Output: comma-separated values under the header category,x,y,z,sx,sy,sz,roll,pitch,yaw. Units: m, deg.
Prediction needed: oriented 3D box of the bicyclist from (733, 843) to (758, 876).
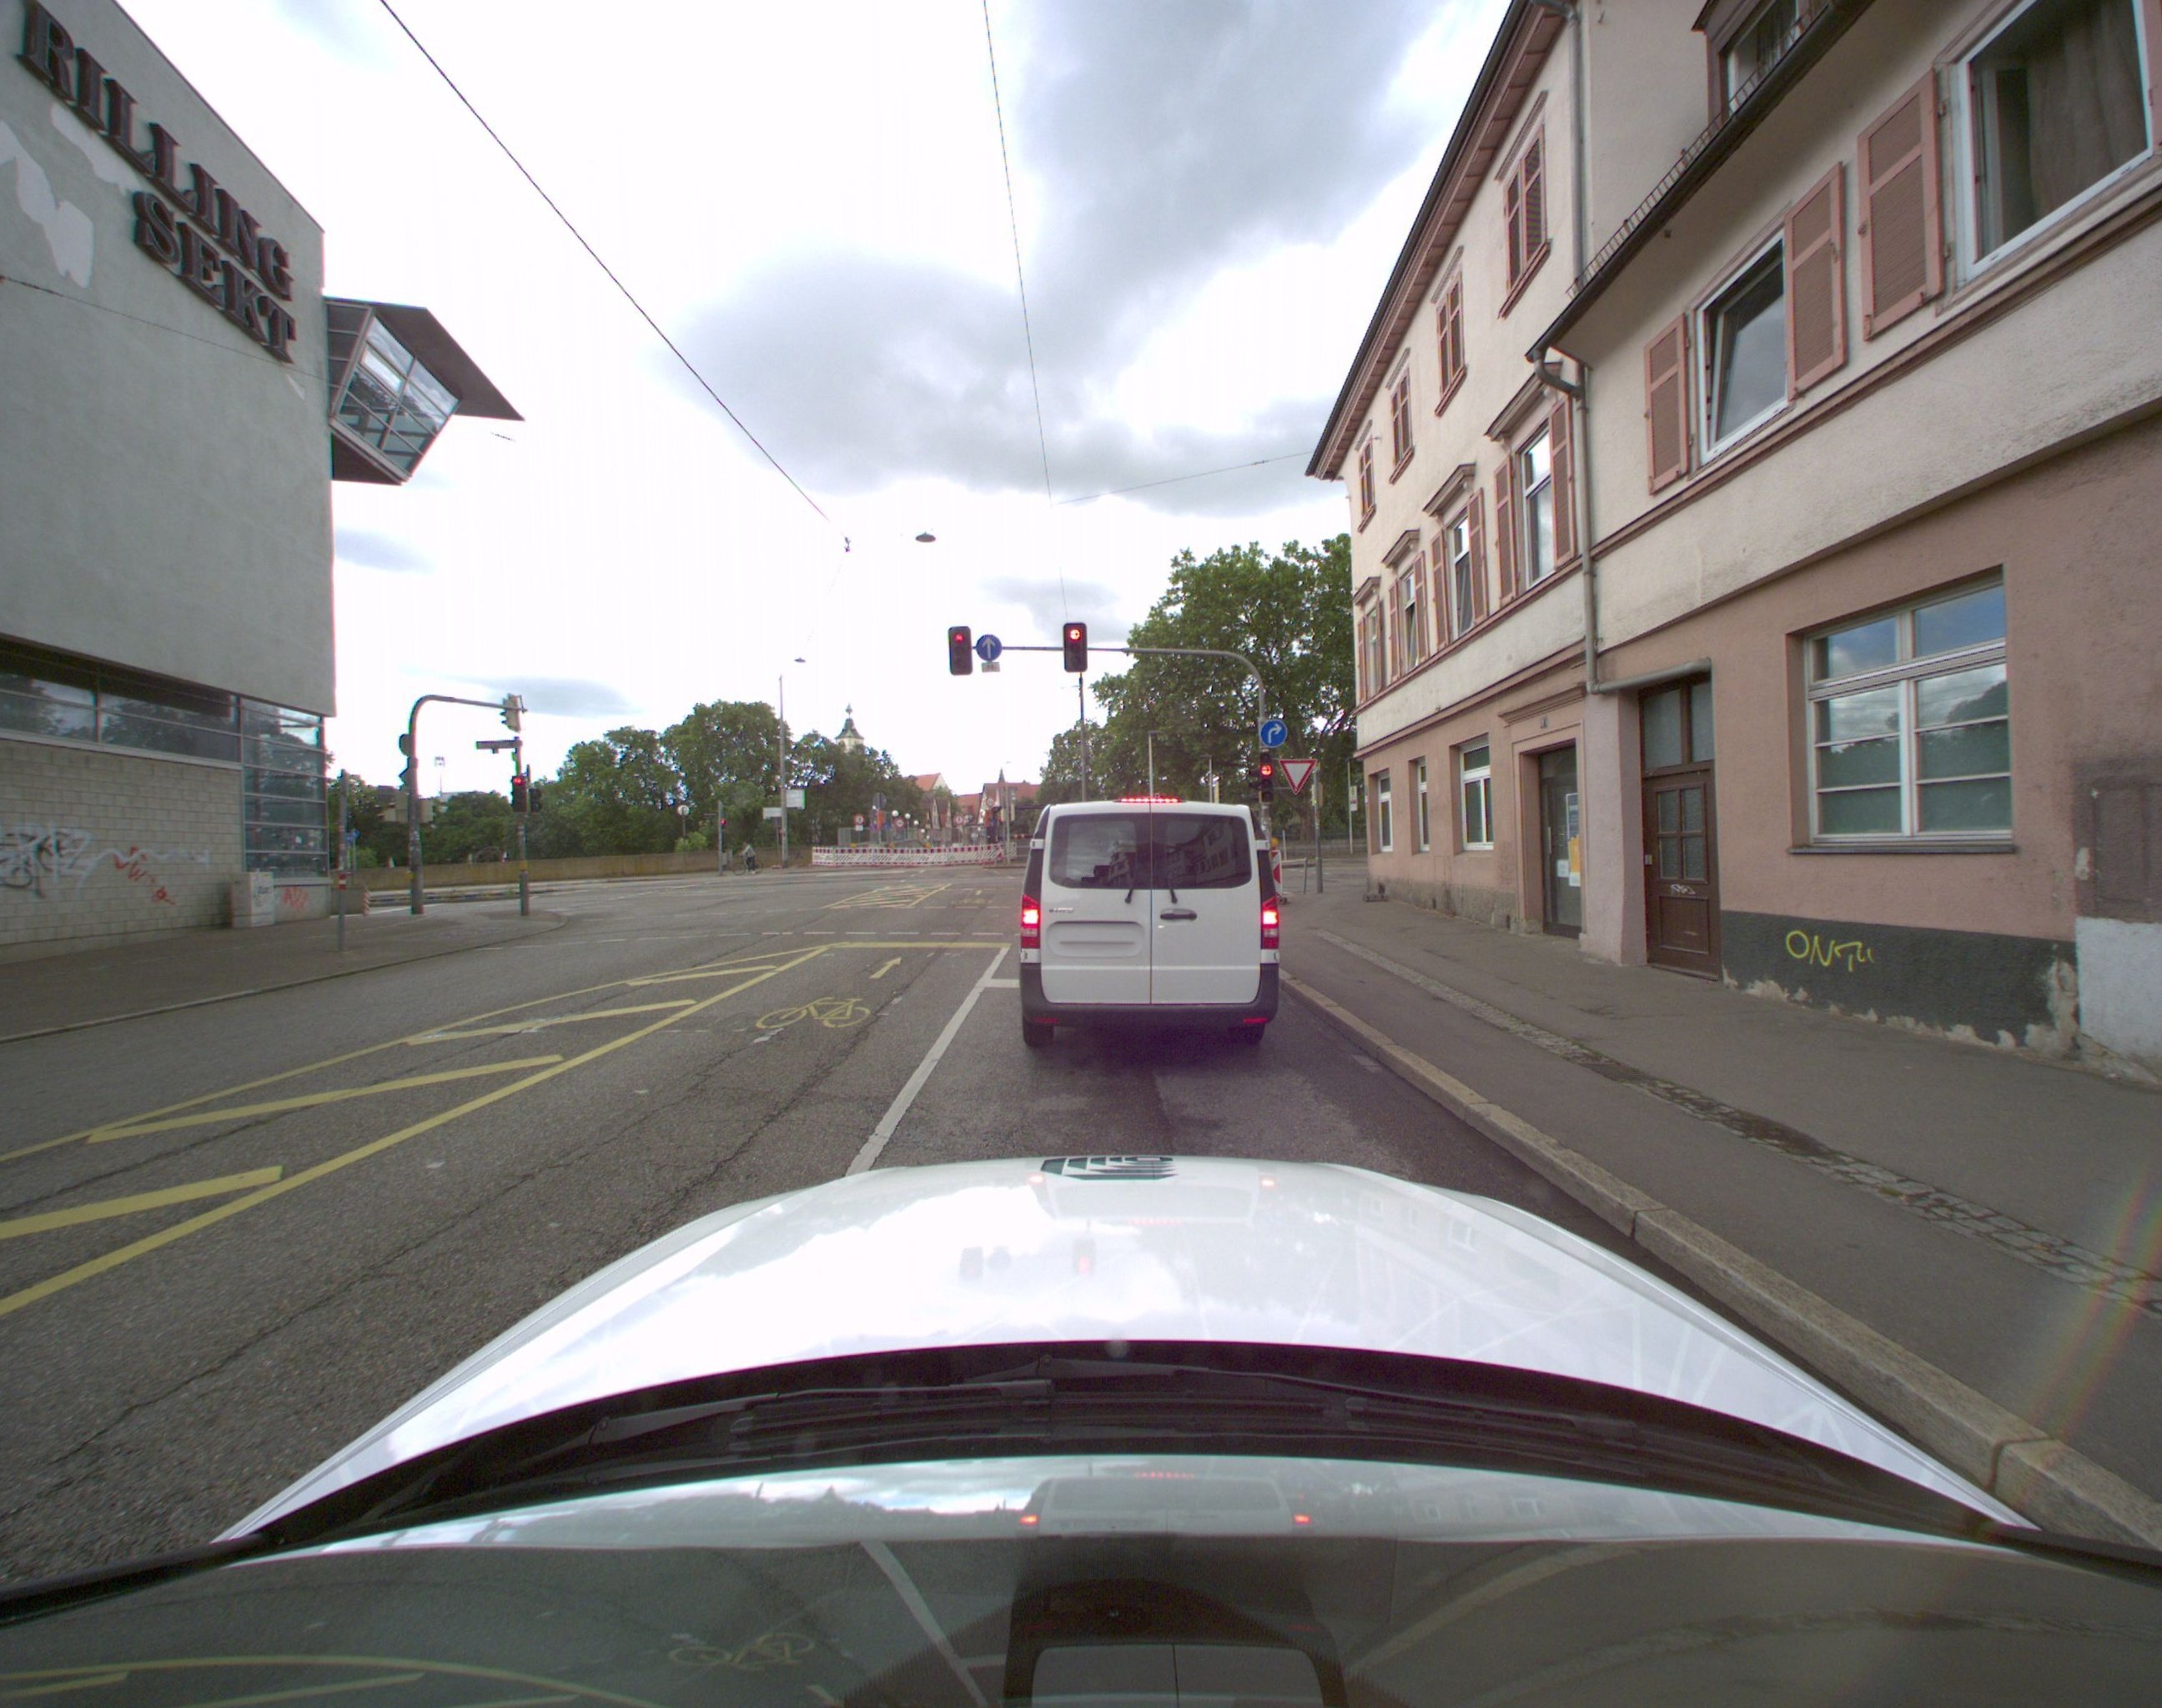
category,x,y,z,sx,sy,sz,roll,pitch,yaw
bicyclist,-17.925,0.270,43.507,1.010,1.743,0.746,-2,1,-40

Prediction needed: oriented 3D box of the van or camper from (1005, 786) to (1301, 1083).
category,x,y,z,sx,sy,sz,roll,pitch,yaw
van or camper,0.439,0.453,7.540,1.932,1.924,4.439,0,2,-1

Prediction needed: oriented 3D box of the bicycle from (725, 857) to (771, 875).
category,x,y,z,sx,sy,sz,roll,pitch,yaw
bicycle,-17.825,0.631,43.593,2.150,0.892,0.751,-3,2,-42
